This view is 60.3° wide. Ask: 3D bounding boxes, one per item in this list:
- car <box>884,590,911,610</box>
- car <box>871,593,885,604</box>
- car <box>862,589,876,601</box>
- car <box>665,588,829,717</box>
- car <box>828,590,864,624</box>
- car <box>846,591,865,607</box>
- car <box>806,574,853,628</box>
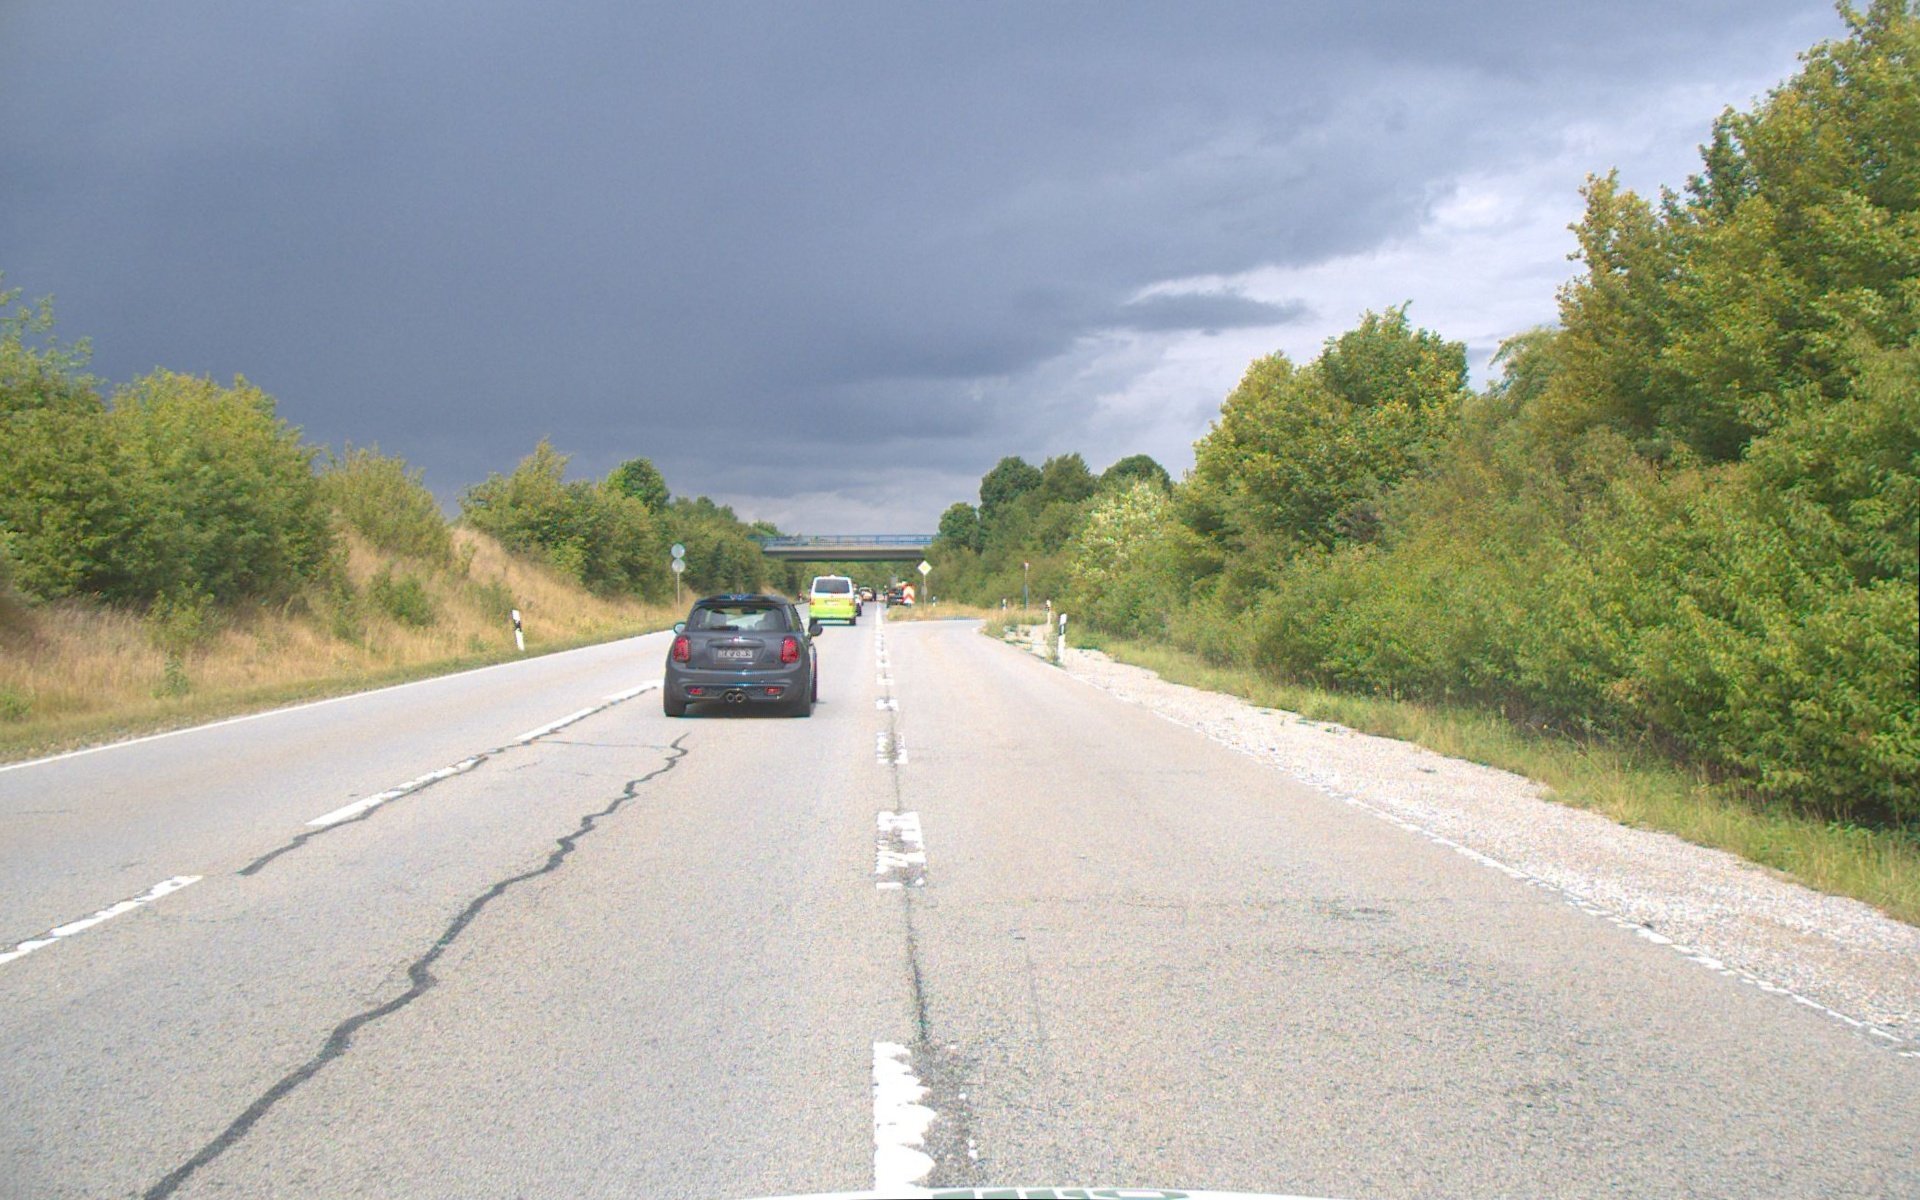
[{"bbox_3d":[-5.012,-0.024,131.738,1.955,1.579,3.996,1,0,-5],"label":"car"},{"bbox_3d":[-10.941,-0.198,221.385,1.633,1.427,4.000,0,0,0],"label":"car"},{"bbox_3d":[-11.010,-0.569,199.409,1.634,1.427,3.998,0,0,-3],"label":"car"},{"bbox_3d":[-2.566,0.582,20.741,1.721,1.452,3.998,1,0,-3],"label":"car"},{"bbox_3d":[-6.241,0.358,91.049,1.781,1.780,3.999,0,0,-2],"label":"car"},{"bbox_3d":[-9.376,-0.112,148.145,1.634,1.427,3.998,0,0,-3],"label":"car"},{"bbox_3d":[-5.330,0.028,67.735,1.783,2.090,3.998,1,0,-3],"label":"car"}]
